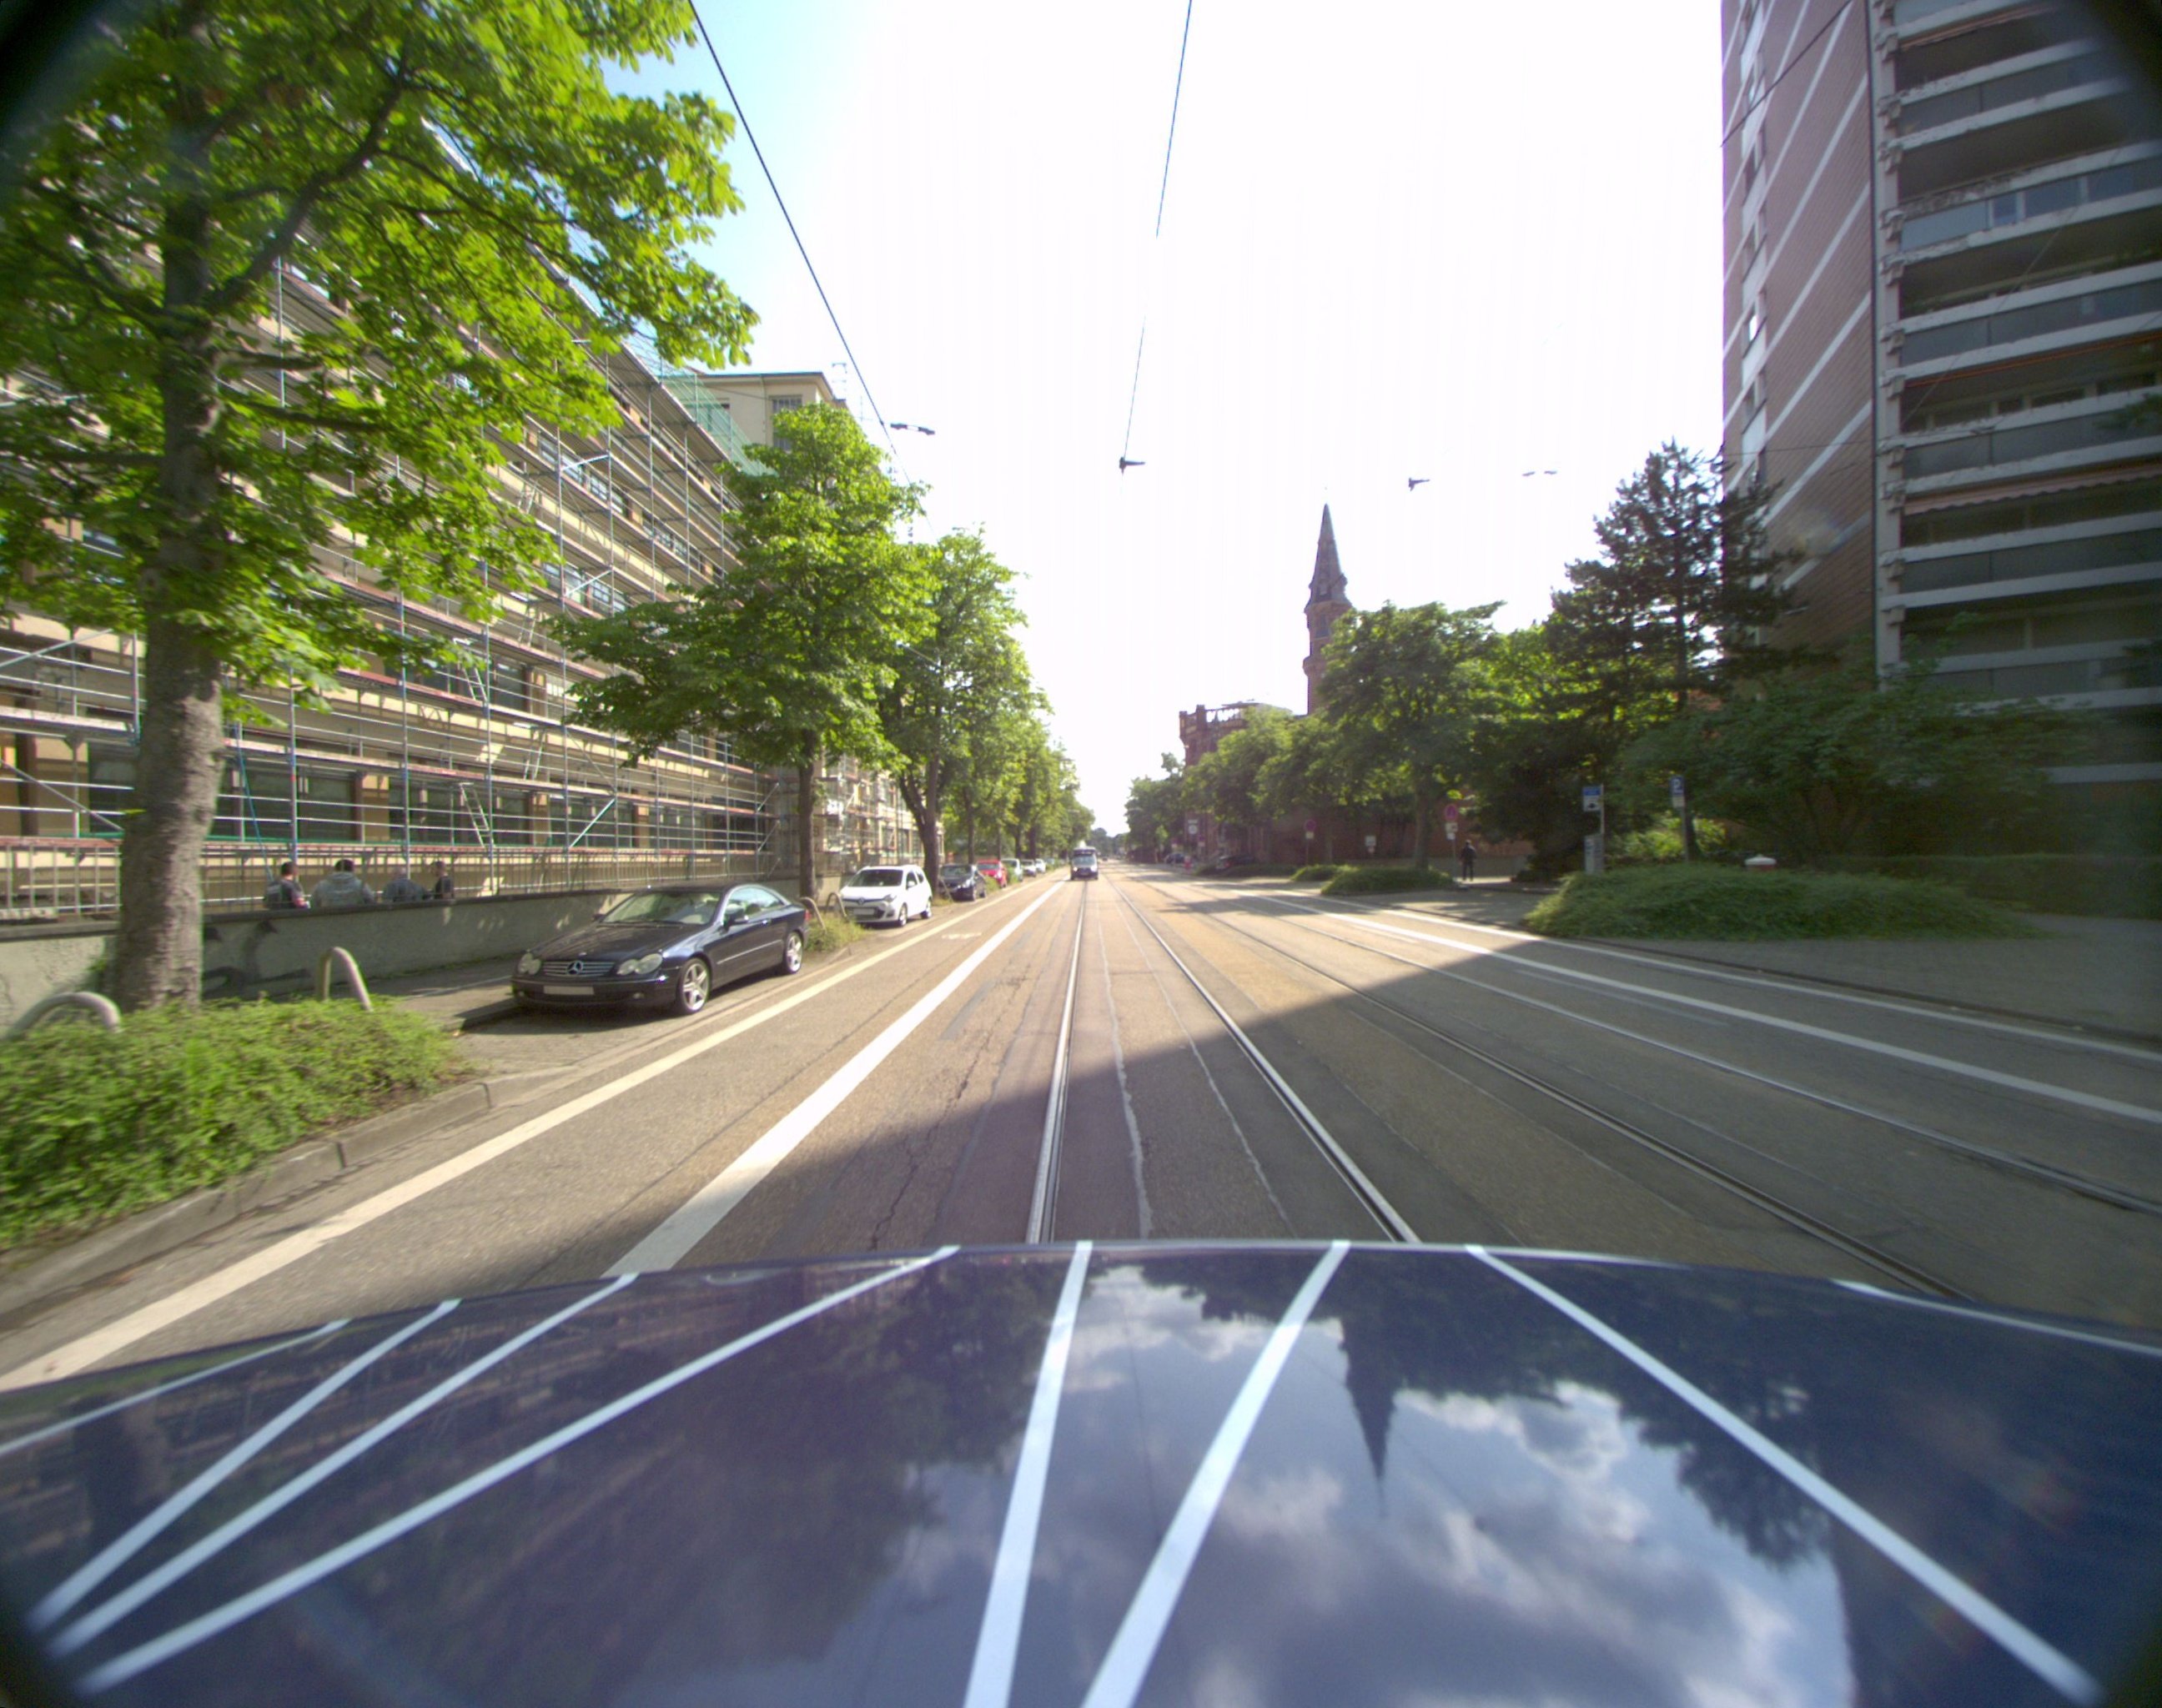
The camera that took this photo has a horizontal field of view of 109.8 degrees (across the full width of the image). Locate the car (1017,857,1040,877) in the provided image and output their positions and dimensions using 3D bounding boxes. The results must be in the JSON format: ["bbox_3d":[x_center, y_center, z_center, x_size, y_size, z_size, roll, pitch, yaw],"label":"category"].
[{"bbox_3d":[-4.246,1.034,62.347,1.532,1.565,3.647,-2,0,1],"label":"car"}]

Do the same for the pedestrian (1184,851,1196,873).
[{"bbox_3d":[10.338,0.779,72.023,0.904,2.002,1.057,-2,0,4],"label":"pedestrian"}]

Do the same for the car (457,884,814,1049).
[{"bbox_3d":[-5.046,1.158,9.503,1.739,1.364,4.508,1,0,1],"label":"car"}]

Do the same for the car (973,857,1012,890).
[{"bbox_3d":[-4.629,0.990,40.125,1.532,1.565,3.647,-2,0,1],"label":"car"}]

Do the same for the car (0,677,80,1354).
[{"bbox_3d":[-5.164,0.587,0.120,2.128,2.552,5.919,1,0,1],"label":"car"}]

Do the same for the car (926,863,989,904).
[{"bbox_3d":[-4.671,1.076,29.276,1.737,1.390,3.630,-2,0,1],"label":"car"}]

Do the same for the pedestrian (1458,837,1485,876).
[{"bbox_3d":[16.405,0.107,31.926,0.764,1.620,0.738,-2,0,10],"label":"pedestrian"}]

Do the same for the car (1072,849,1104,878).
[{"bbox_3d":[0.416,0.641,49.870,1.945,1.763,4.838,0,-1,-1],"label":"car"}]

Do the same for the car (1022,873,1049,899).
[{"bbox_3d":[-3.066,2.168,51.979,1.532,1.565,3.647,-2,0,1],"label":"car"}]

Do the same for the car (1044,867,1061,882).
[{"bbox_3d":[-3.115,2.226,83.564,1.532,1.565,3.647,-2,0,1],"label":"car"}]

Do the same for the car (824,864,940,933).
[{"bbox_3d":[-4.884,1.035,19.187,1.568,1.448,3.896,-2,0,5],"label":"car"}]

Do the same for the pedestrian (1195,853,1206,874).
[{"bbox_3d":[11.337,0.897,72.116,0.904,2.002,1.057,-2,0,3],"label":"pedestrian"}]
